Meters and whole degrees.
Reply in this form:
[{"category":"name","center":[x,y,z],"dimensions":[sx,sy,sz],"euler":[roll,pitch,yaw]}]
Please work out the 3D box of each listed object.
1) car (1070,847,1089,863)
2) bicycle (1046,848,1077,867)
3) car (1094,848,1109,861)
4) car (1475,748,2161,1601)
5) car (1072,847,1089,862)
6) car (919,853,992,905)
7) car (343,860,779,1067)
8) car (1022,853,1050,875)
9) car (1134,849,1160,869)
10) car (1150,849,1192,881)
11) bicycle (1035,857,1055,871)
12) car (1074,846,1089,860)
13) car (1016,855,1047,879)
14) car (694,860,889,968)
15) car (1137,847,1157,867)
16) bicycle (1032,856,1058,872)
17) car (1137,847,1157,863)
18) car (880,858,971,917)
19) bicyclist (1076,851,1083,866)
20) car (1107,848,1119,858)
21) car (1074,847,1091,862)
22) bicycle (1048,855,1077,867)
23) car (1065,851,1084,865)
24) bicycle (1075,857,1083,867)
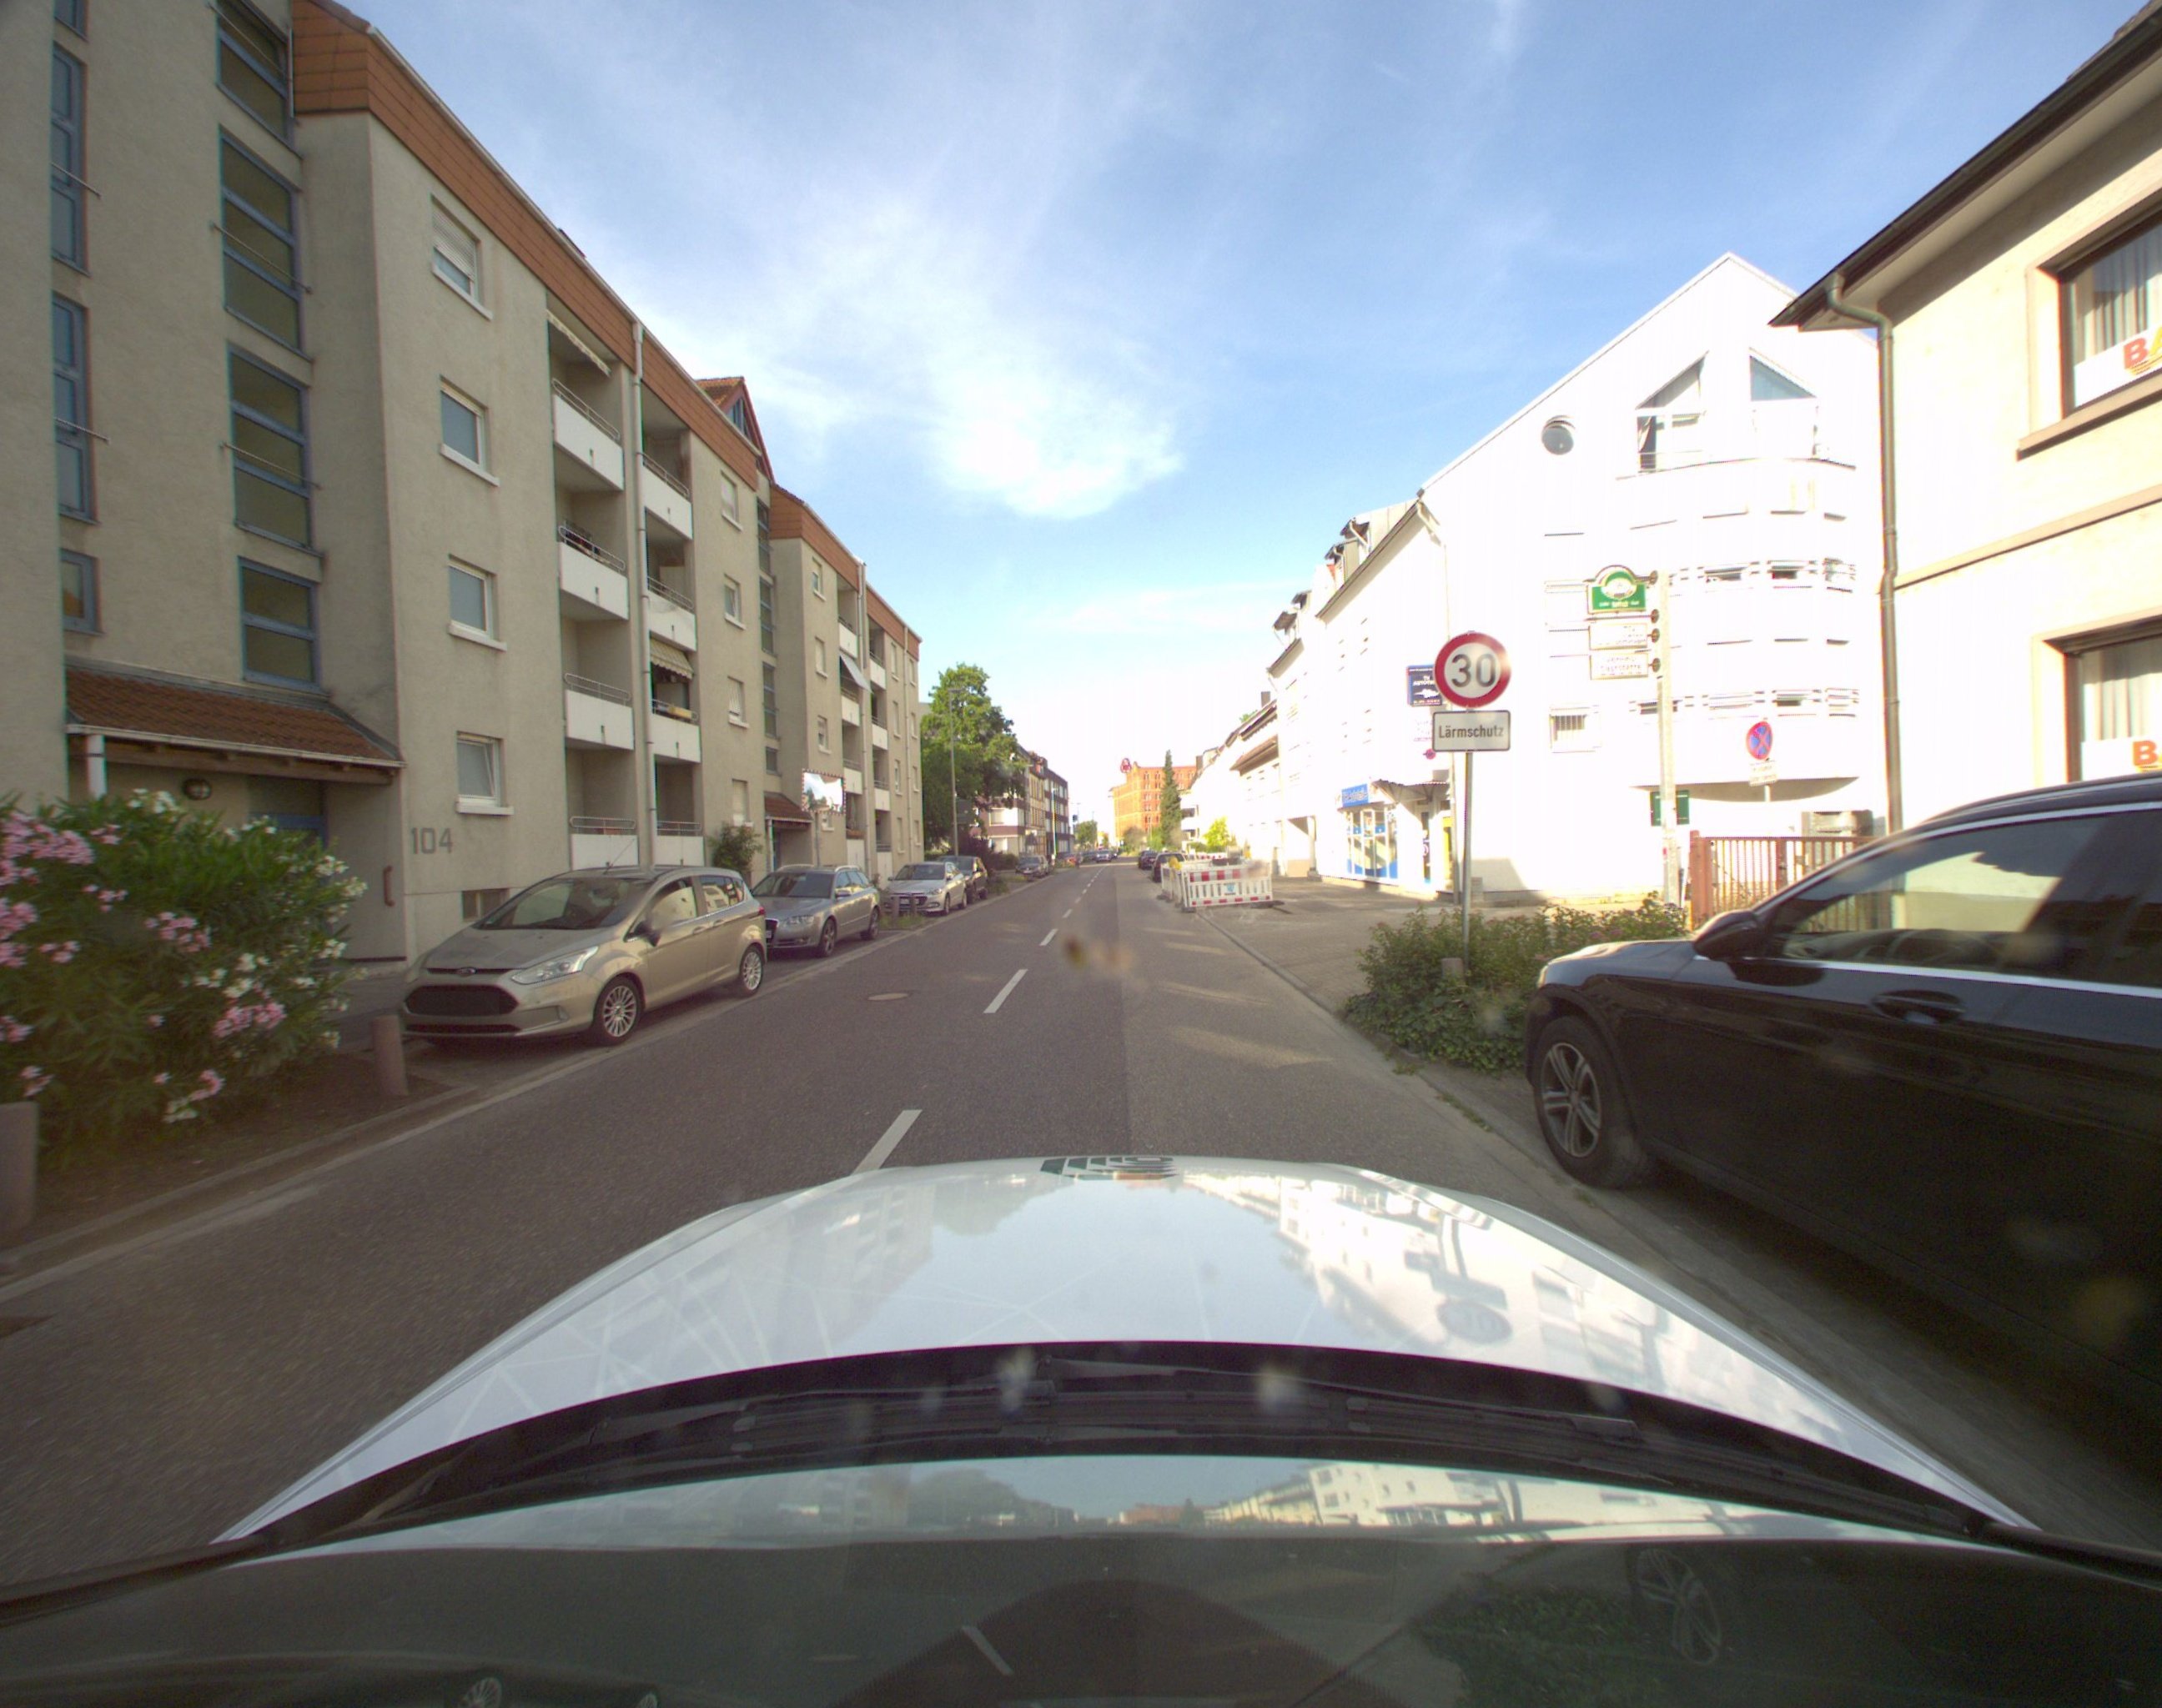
[{"category":"car","center":[-0.156,0.080,102.194],"dimensions":[1.985,1.835,3.693],"euler":[-3,0,3]},{"category":"bicycle","center":[-1.979,0.344,81.742],"dimensions":[2.905,1.777,1.203],"euler":[-3,0,3]},{"category":"car","center":[2.707,0.080,105.654],"dimensions":[1.756,1.616,4.002],"euler":[-3,0,2]},{"category":"car","center":[2.972,0.571,2.147],"dimensions":[1.822,1.630,4.466],"euler":[-3,0,3]},{"category":"car","center":[-0.063,0.067,107.315],"dimensions":[1.985,1.911,3.693],"euler":[-3,0,3]},{"category":"car","center":[-4.283,0.809,28.469],"dimensions":[1.679,1.603,4.372],"euler":[-2,0,2]},{"category":"car","center":[-4.830,0.882,8.373],"dimensions":[1.719,1.555,3.969],"euler":[-1,0,4]},{"category":"car","center":[-3.205,0.685,58.782],"dimensions":[1.670,1.501,4.001],"euler":[-2,0,1]},{"category":"car","center":[5.295,0.383,65.988],"dimensions":[1.852,1.472,4.002],"euler":[-3,0,2]},{"category":"car","center":[4.545,0.530,41.596],"dimensions":[1.822,1.482,3.946],"euler":[-3,0,3]},{"category":"bicycle","center":[-2.905,0.832,66.511],"dimensions":[1.581,1.041,0.707],"euler":[-2,0,-3]},{"category":"car","center":[0.117,-0.163,117.813],"dimensions":[1.985,1.881,4.003],"euler":[-2,0,3]},{"category":"car","center":[-3.189,0.807,53.121],"dimensions":[1.567,1.420,3.806],"euler":[-2,0,2]},{"category":"car","center":[-4.896,0.919,14.490],"dimensions":[1.801,1.521,4.371],"euler":[-1,0,1]},{"category":"car","center":[5.764,0.215,71.244],"dimensions":[1.595,1.646,3.687],"euler":[-1,0,2]},{"category":"bicycle","center":[-2.841,0.796,64.916],"dimensions":[1.996,1.217,0.707],"euler":[-2,0,-4]},{"category":"car","center":[6.749,0.080,83.263],"dimensions":[1.757,1.526,4.002],"euler":[-3,0,2]},{"category":"car","center":[-4.330,0.885,23.270],"dimensions":[1.680,1.454,4.142],"euler":[-1,0,1]},{"category":"bicyclist","center":[-0.151,0.408,76.618],"dimensions":[0.588,1.442,0.751],"euler":[-2,0,3]},{"category":"car","center":[5.248,-0.209,133.707],"dimensions":[1.756,1.616,4.002],"euler":[-3,0,2]},{"category":"car","center":[0.211,0.017,111.388],"dimensions":[1.985,1.907,4.004],"euler":[-3,0,3]},{"category":"bicycle","center":[-1.877,0.696,83.513],"dimensions":[2.761,1.144,1.144],"euler":[-3,0,3]},{"category":"car","center":[-0.691,0.394,91.341],"dimensions":[1.832,1.464,3.587],"euler":[-2,0,3]},{"category":"bicycle","center":[-0.142,0.739,76.576],"dimensions":[0.606,0.942,1.813],"euler":[-2,0,4]}]
